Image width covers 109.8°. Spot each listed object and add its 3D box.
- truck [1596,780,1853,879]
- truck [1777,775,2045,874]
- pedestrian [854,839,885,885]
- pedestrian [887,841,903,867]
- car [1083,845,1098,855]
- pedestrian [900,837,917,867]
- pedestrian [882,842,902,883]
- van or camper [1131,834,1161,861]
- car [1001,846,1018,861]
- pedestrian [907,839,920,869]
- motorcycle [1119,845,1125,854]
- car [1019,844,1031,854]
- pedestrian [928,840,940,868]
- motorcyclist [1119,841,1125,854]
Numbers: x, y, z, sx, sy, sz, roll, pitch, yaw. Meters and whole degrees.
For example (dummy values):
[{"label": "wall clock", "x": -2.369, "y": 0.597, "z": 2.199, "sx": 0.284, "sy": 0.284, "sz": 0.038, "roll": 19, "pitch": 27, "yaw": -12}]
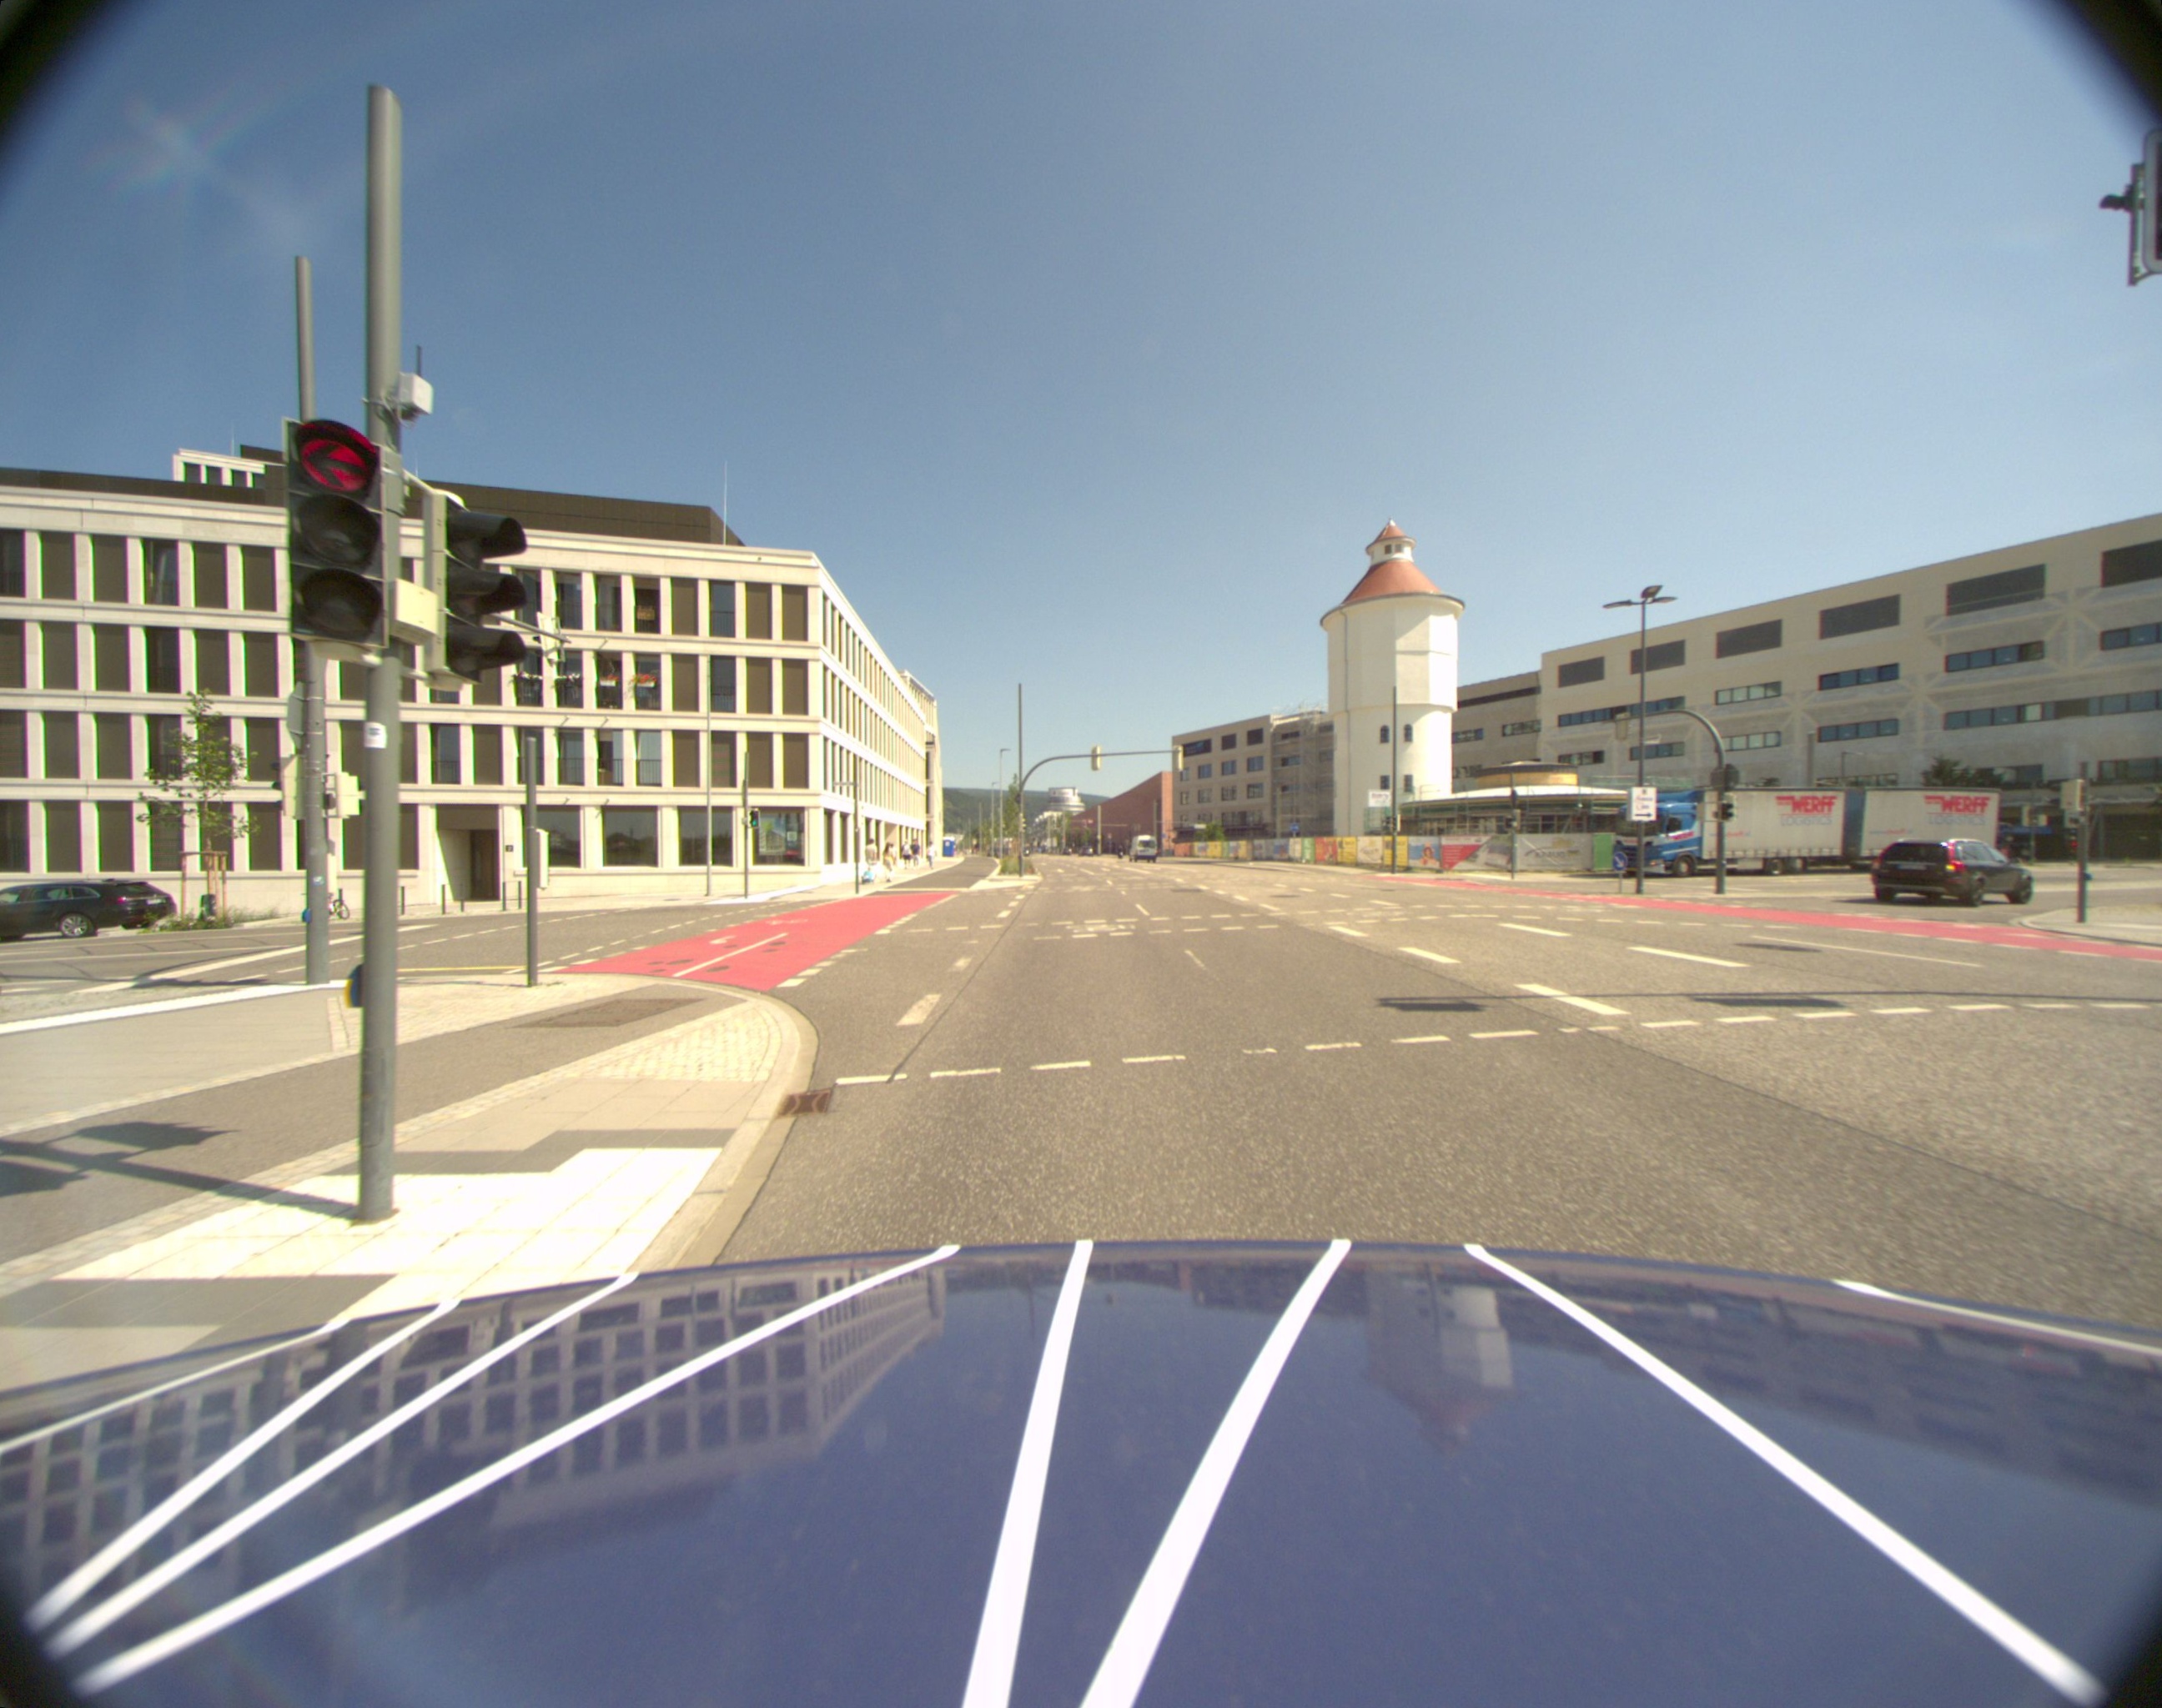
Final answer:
[{"label": "truck", "x": 30.039, "y": -1.218, "z": 35.535, "sx": 10.985, "sy": 4.045, "sz": 3.297, "roll": -3, "pitch": 2, "yaw": -14}, {"label": "truck", "x": 40.800, "y": -1.482, "z": 37.503, "sx": 10.949, "sy": 4.252, "sz": 3.341, "roll": -2, "pitch": 2, "yaw": -8}, {"label": "pedestrian", "x": -8.741, "y": 0.302, "z": 31.477, "sx": 0.880, "sy": 1.816, "sz": 1.664, "roll": -1, "pitch": 2, "yaw": -3}, {"label": "pedestrian", "x": -11.301, "y": -0.030, "z": 46.149, "sx": 0.770, "sy": 1.557, "sz": 0.842, "roll": 0, "pitch": 2, "yaw": -5}, {"label": "car", "x": 1.405, "y": -0.650, "z": 118.407, "sx": 1.803, "sy": 1.581, "sz": 3.967, "roll": 1, "pitch": 1, "yaw": -7}, {"label": "pedestrian", "x": -10.579, "y": -0.123, "z": 46.620, "sx": 0.827, "sy": 1.774, "sz": 0.926, "roll": 0, "pitch": 2, "yaw": -5}, {"label": "pedestrian", "x": -8.169, "y": 0.347, "z": 32.806, "sx": 0.702, "sy": 1.714, "sz": 0.796, "roll": 1, "pitch": 2, "yaw": -3}, {"label": "van or camper", "x": 6.125, "y": -0.699, "z": 72.288, "sx": 2.158, "sy": 2.401, "sz": 5.679, "roll": 1, "pitch": 2, "yaw": -1}, {"label": "car", "x": -8.075, "y": -0.080, "z": 86.321, "sx": 1.811, "sy": 1.499, "sz": 3.997, "roll": -2, "pitch": 1, "yaw": -5}, {"label": "pedestrian", "x": -10.126, "y": -0.015, "z": 45.972, "sx": 0.578, "sy": 1.731, "sz": 0.996, "roll": 0, "pitch": 3, "yaw": -5}, {"label": "motorcycle", "x": 5.144, "y": -0.595, "z": 95.094, "sx": 0.585, "sy": 1.098, "sz": 2.214, "roll": 1, "pitch": 2, "yaw": -3}, {"label": "car", "x": -9.273, "y": -0.826, "z": 126.000, "sx": 1.784, "sy": 1.553, "sz": 3.829, "roll": -3, "pitch": 1, "yaw": -7}, {"label": "pedestrian", "x": -9.169, "y": 0.006, "z": 47.456, "sx": 0.578, "sy": 1.710, "sz": 0.996, "roll": 2, "pitch": 2, "yaw": -5}, {"label": "motorcyclist", "x": 5.144, "y": -0.816, "z": 94.777, "sx": 0.621, "sy": 1.650, "sz": 0.927, "roll": -2, "pitch": 2, "yaw": -3}]
